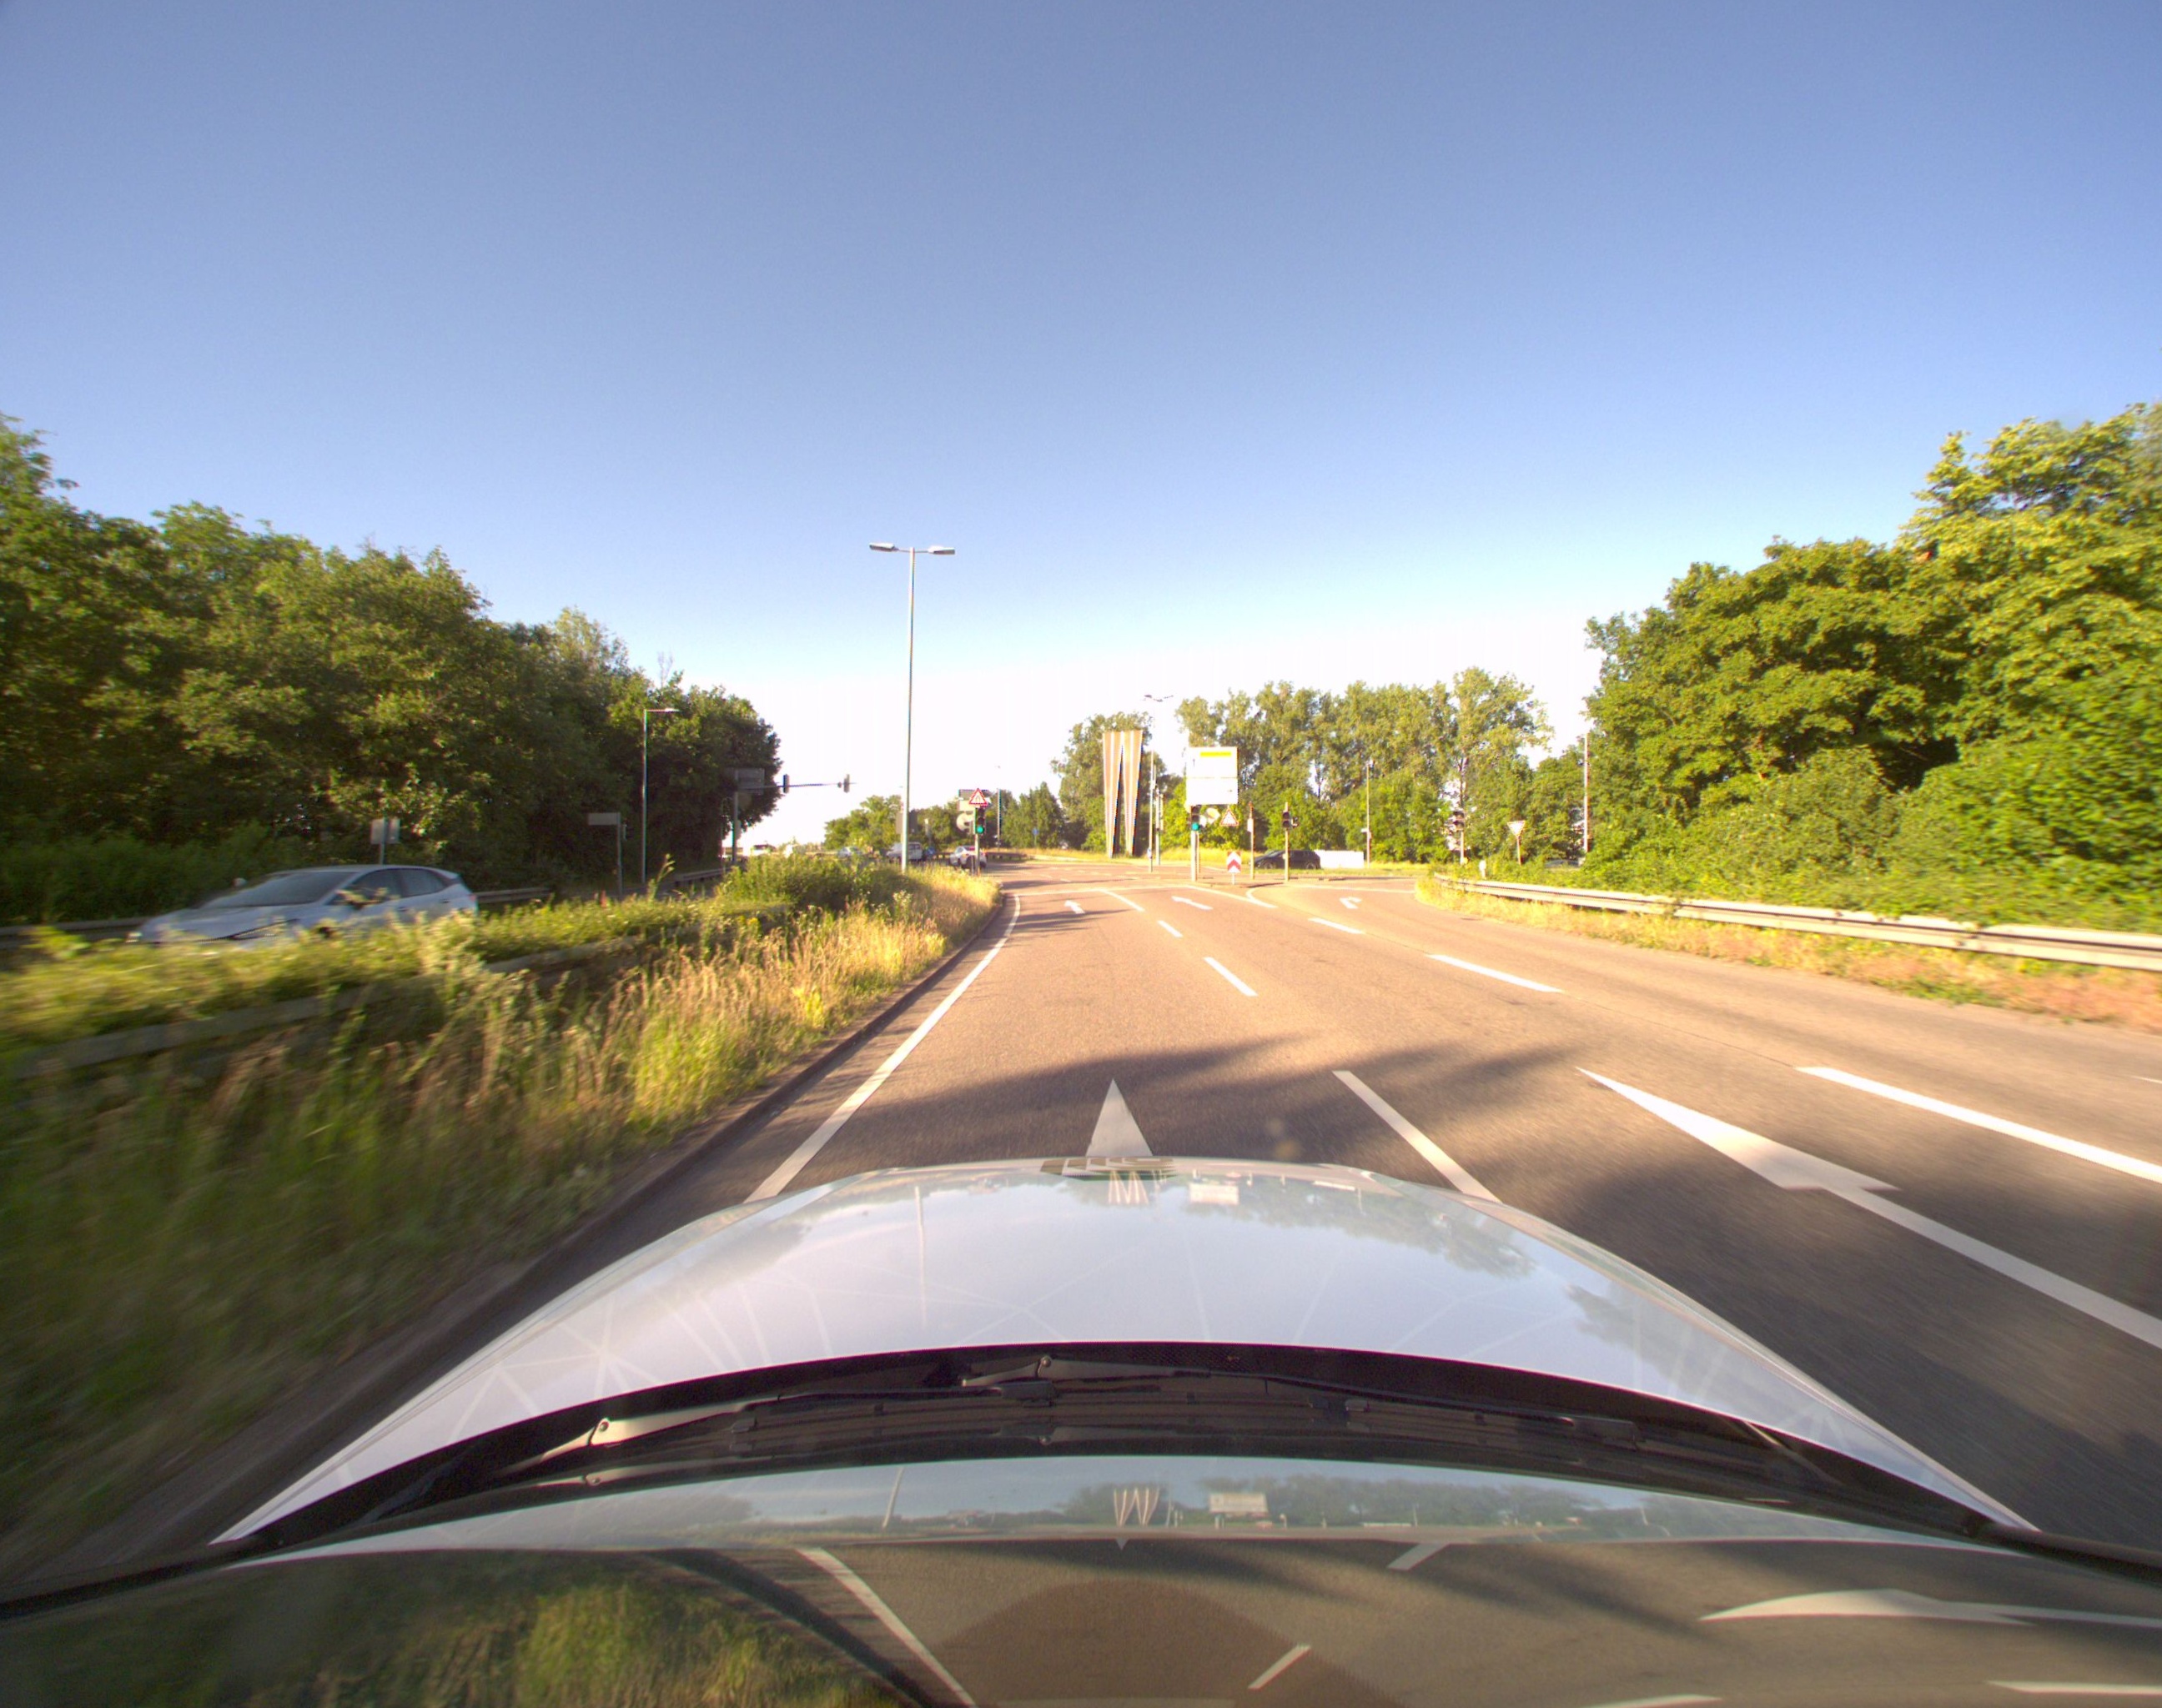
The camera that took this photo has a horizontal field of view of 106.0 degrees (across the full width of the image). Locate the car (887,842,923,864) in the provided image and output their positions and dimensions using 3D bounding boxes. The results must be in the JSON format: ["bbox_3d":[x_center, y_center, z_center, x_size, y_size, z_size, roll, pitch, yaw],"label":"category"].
[{"bbox_3d":[-15.486,-0.054,71.620,2.005,1.879,4.210,0,0,-28],"label":"car"}]

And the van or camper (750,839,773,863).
[{"bbox_3d":[-37.347,-0.406,94.958,2.059,2.673,6.877,-1,1,-25],"label":"van or camper"}]

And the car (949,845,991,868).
[{"bbox_3d":[-8.129,0.178,59.453,2.002,1.640,4.096,0,0,-23],"label":"car"}]

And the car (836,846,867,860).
[{"bbox_3d":[-25.220,-0.173,89.329,1.984,1.474,4.108,0,1,-37],"label":"car"}]

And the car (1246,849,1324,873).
[{"bbox_3d":[13.029,0.429,52.239,4.450,1.464,1.997,1,1,-5],"label":"car"}]

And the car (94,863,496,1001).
[{"bbox_3d":[-10.609,0.918,11.556,1.883,1.520,4.208,-1,0,-6],"label":"car"}]

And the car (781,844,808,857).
[{"bbox_3d":[-36.154,-0.447,102.612,1.985,1.698,3.954,0,1,-39],"label":"car"}]
